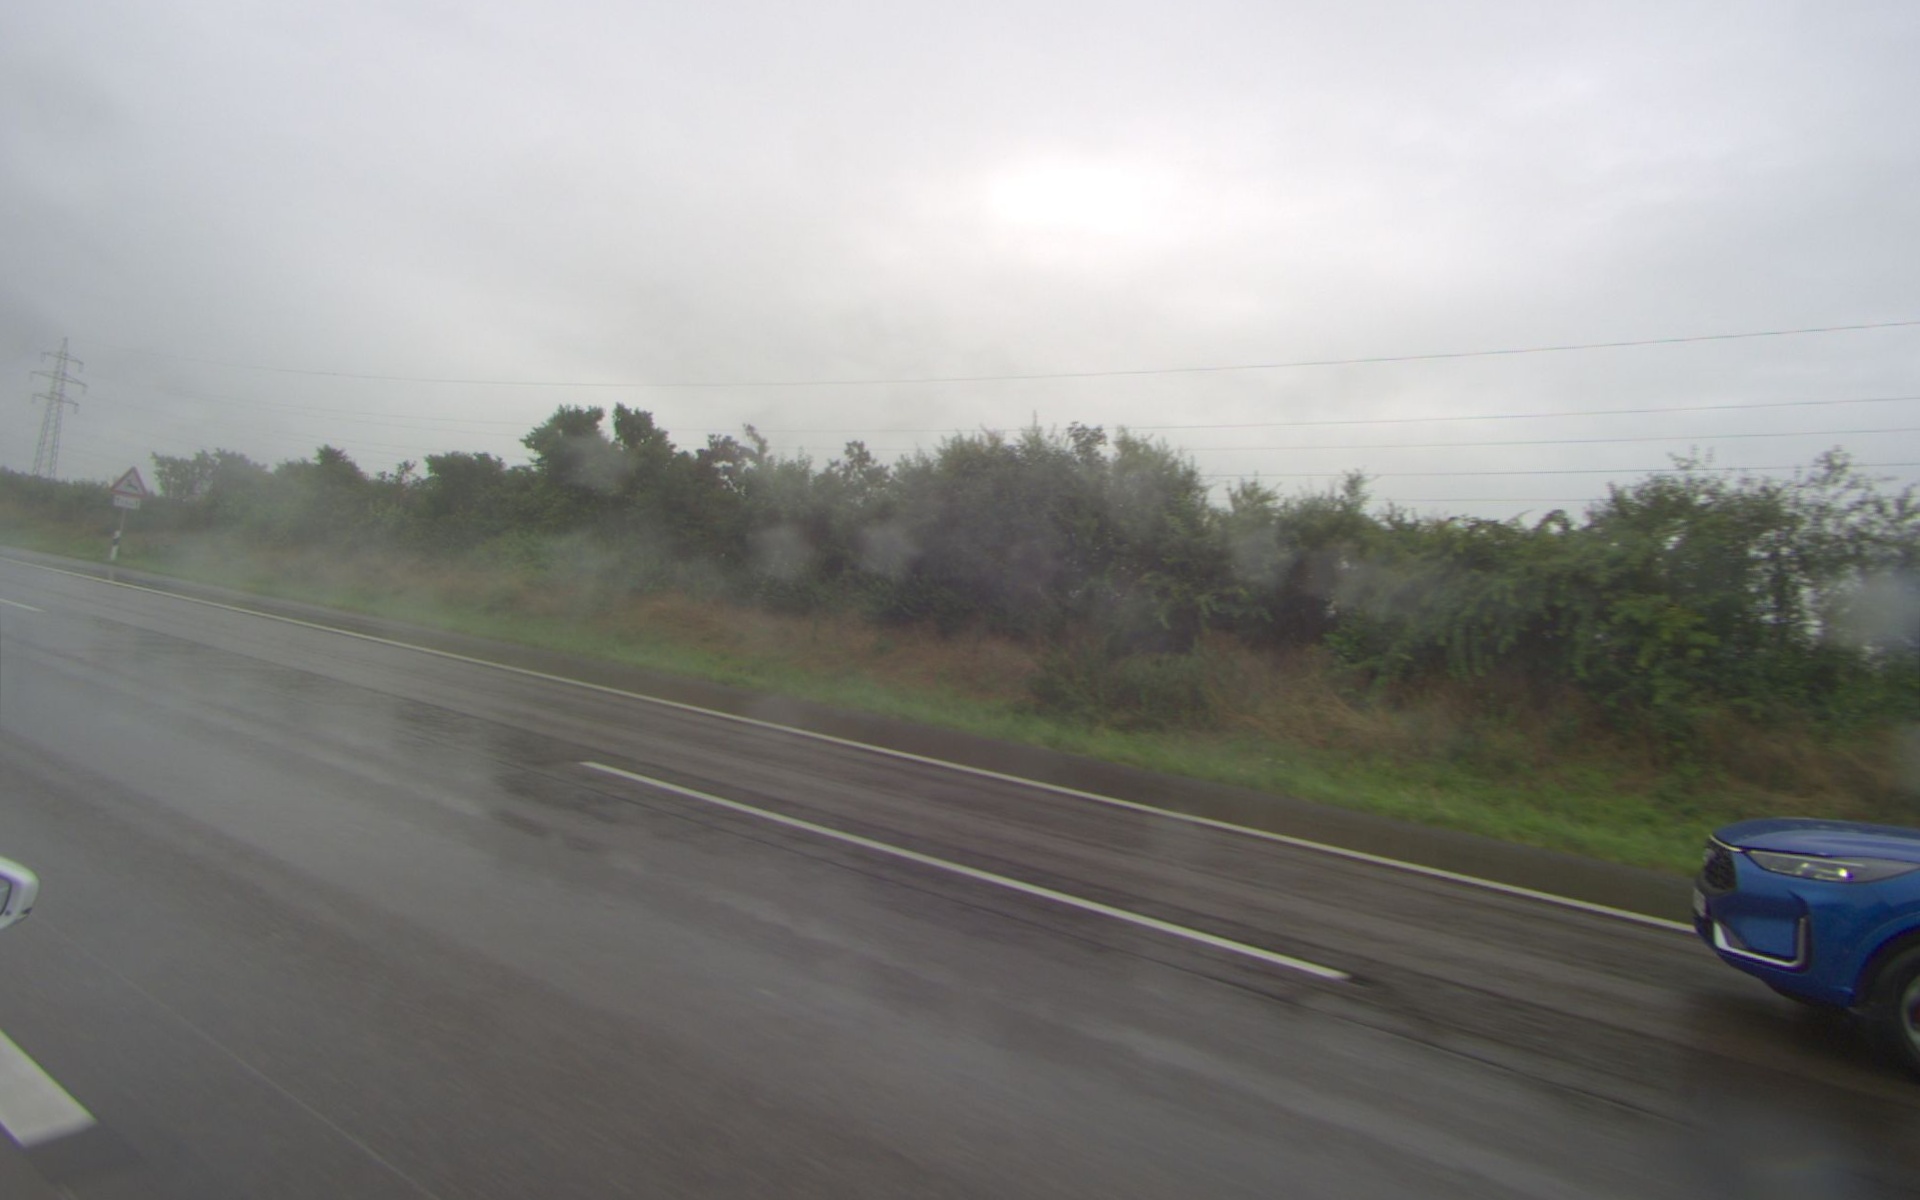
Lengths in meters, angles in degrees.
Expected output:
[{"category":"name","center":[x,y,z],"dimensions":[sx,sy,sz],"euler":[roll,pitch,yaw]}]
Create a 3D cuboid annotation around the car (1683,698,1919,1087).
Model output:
[{"category":"car","center":[6.295,1.601,4.368],"dimensions":[4.913,1.638,1.995],"euler":[6,-2,35]}]
